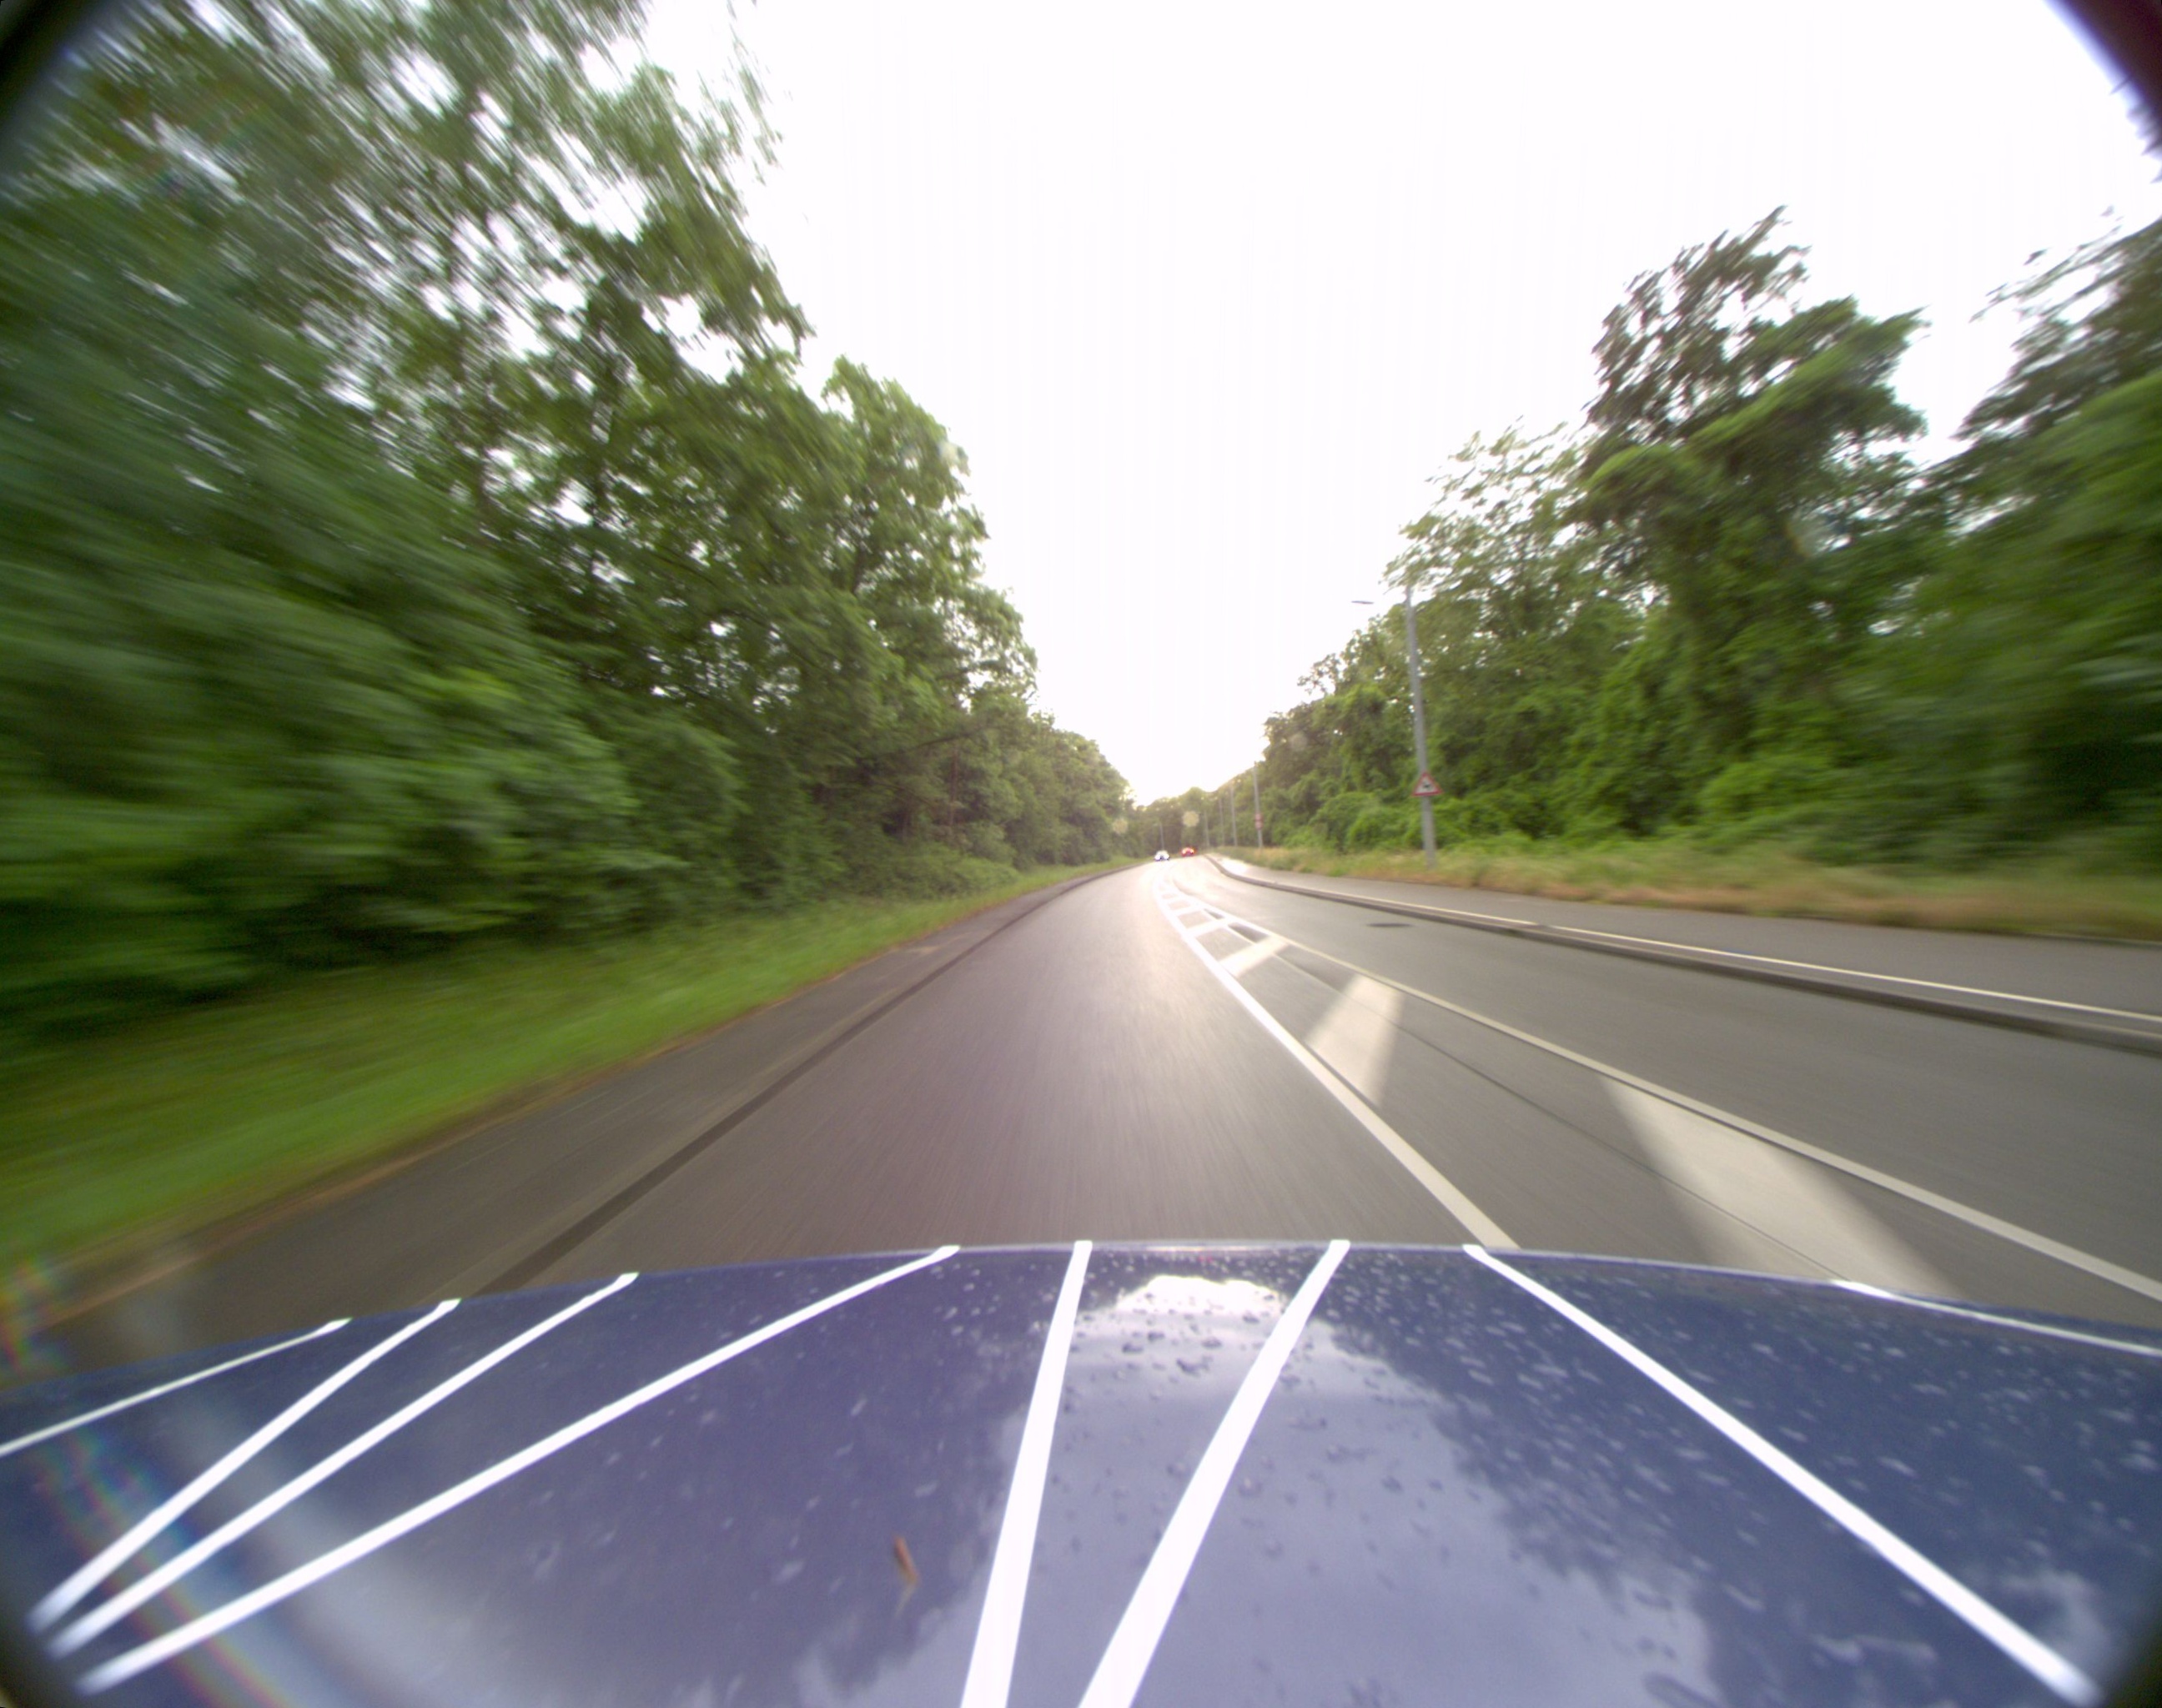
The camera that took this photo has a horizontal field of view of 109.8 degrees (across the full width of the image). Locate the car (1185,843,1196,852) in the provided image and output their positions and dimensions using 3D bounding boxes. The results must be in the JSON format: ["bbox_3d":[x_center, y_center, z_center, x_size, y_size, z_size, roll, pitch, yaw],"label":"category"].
[{"bbox_3d":[21.394,-1.209,148.022,1.997,1.674,4.002,-3,0,7],"label":"car"}]

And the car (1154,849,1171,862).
[{"bbox_3d":[11.125,0.162,103.548,1.997,1.674,4.002,-3,0,9],"label":"car"}]
